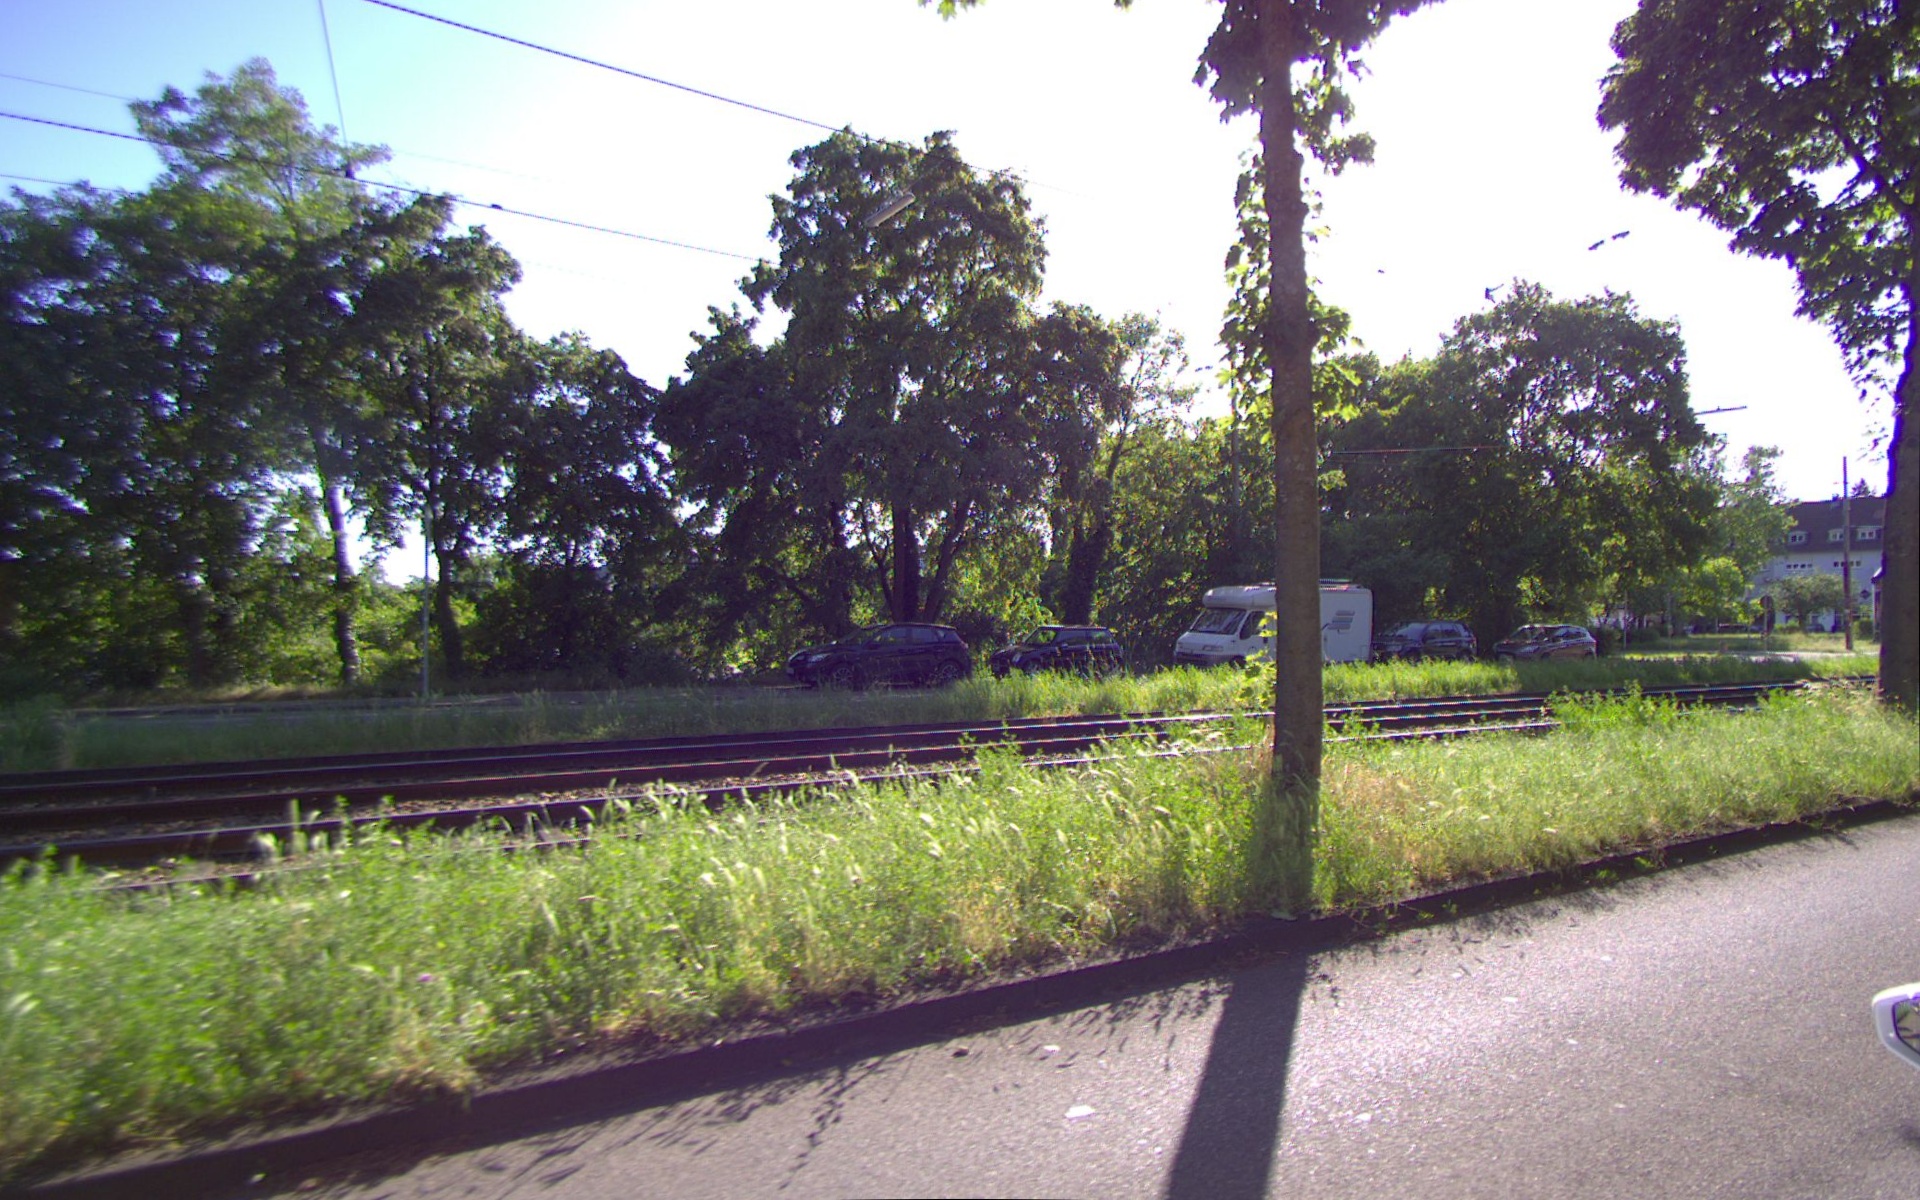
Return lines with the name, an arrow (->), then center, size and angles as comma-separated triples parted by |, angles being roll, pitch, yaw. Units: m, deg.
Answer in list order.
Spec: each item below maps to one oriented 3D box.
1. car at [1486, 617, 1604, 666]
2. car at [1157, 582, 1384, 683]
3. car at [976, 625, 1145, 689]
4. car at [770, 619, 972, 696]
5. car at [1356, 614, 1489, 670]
car -> 20.812, 1.461, 35.711 | 4.195, 1.605, 1.667 | 1, 0, -29
car -> 8.954, 0.863, 28.710 | 6.718, 2.615, 2.215 | 1, 1, -30
car -> 2.537, 1.396, 25.208 | 3.951, 1.454, 1.703 | 1, 0, -29
car -> -1.993, 1.261, 22.746 | 4.228, 1.584, 1.760 | 1, 0, -28
car -> 14.898, 1.329, 32.314 | 4.480, 1.644, 1.614 | 1, 0, -31
